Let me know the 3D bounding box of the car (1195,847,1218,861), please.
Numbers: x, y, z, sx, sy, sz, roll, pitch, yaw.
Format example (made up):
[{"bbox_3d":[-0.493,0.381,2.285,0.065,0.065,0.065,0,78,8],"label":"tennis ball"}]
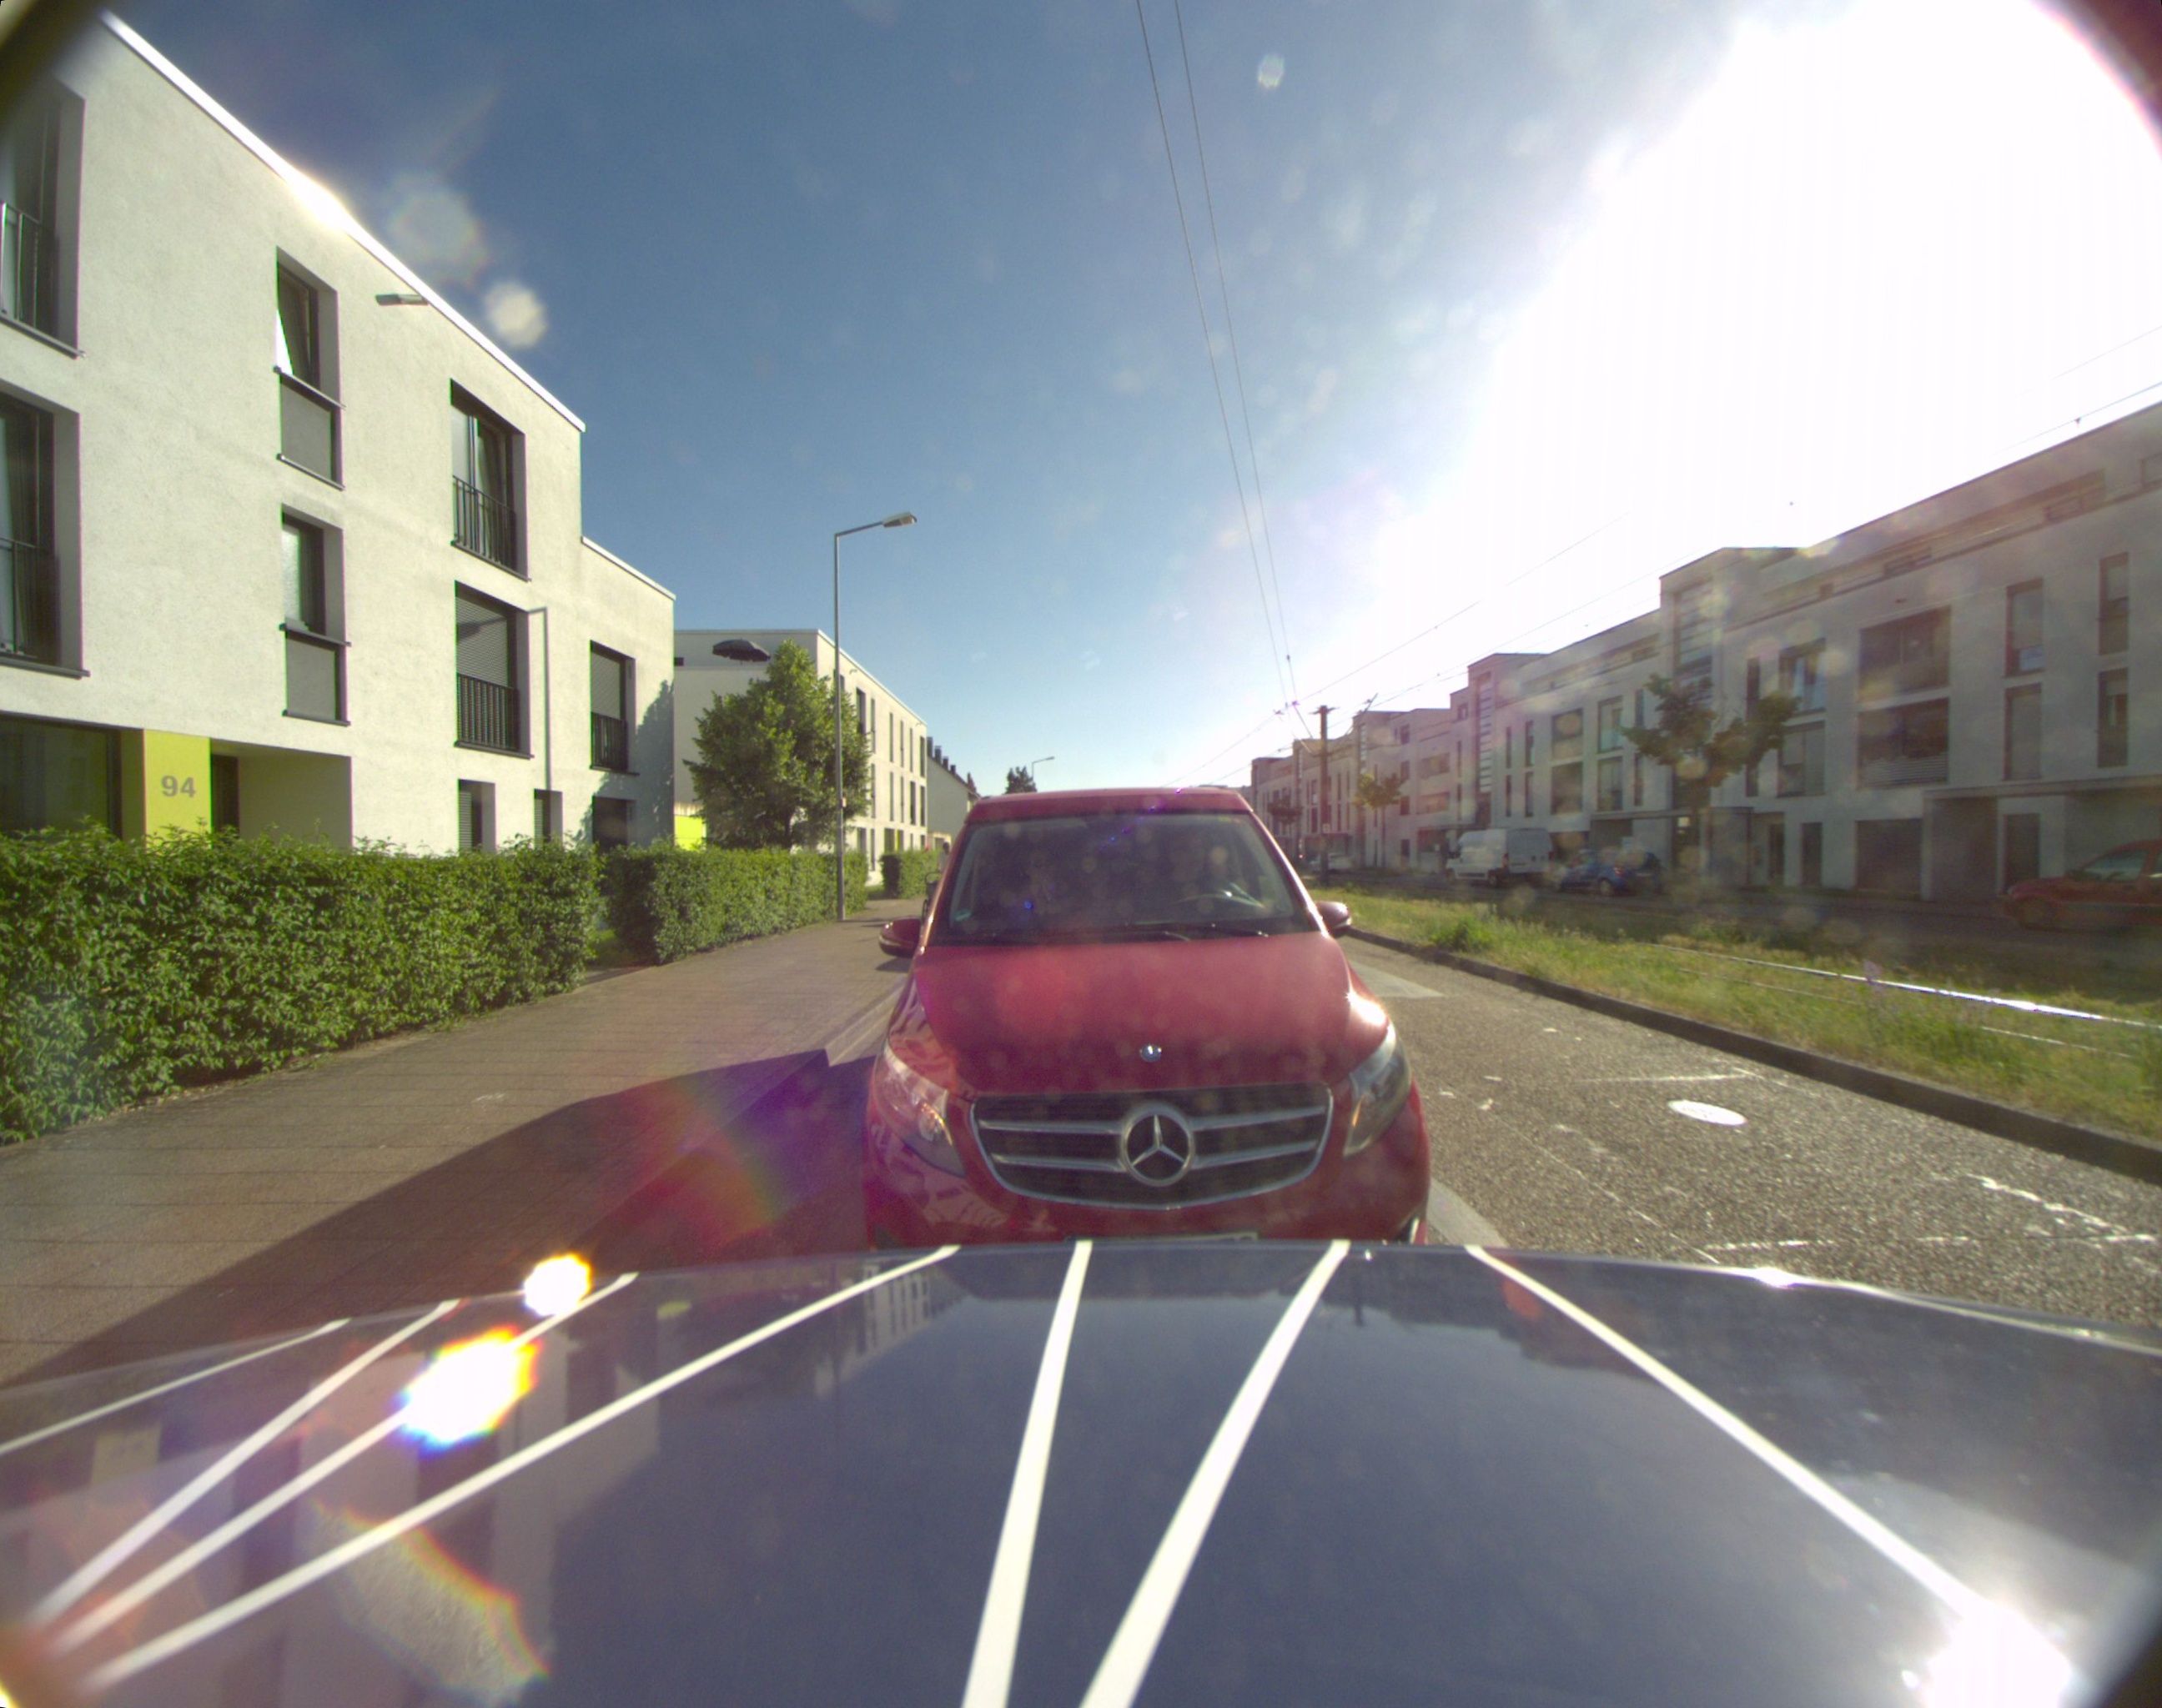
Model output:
[{"bbox_3d":[15.477,-0.042,93.906,1.923,1.671,4.282,-2,1,-4],"label":"car"}]

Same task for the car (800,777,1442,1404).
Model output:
[{"bbox_3d":[0.156,0.701,4.551,1.874,1.843,4.506,-2,1,1],"label":"car"}]

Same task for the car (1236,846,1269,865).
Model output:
[{"bbox_3d":[16.722,0.129,74.354,1.923,1.671,4.282,-2,1,-4],"label":"car"}]

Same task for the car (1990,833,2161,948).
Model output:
[{"bbox_3d":[18.621,0.576,12.809,1.998,1.817,3.895,-2,1,3],"label":"car"}]

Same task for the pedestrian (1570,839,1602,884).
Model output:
[{"bbox_3d":[20.499,0.295,30.851,0.776,1.812,0.785,-2,1,1],"label":"pedestrian"}]

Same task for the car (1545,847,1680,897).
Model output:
[{"bbox_3d":[18.380,0.573,26.500,1.999,1.536,3.835,-2,1,0],"label":"car"}]

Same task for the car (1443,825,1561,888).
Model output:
[{"bbox_3d":[18.173,0.072,33.171,2.225,2.458,5.195,-2,1,0],"label":"car"}]

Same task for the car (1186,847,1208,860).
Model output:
[{"bbox_3d":[15.191,-0.064,99.658,1.923,1.671,4.282,-2,1,-4],"label":"car"}]

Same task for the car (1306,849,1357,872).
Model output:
[{"bbox_3d":[17.638,0.411,53.740,1.923,1.497,4.282,-2,1,-4],"label":"car"}]

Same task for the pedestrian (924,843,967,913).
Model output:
[{"bbox_3d":[-3.140,0.538,17.665,0.913,1.585,0.854,0,1,-6],"label":"pedestrian"}]

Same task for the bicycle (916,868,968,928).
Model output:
[{"bbox_3d":[-3.091,0.932,17.240,0.931,1.166,3.123,0,1,-6],"label":"bicycle"}]
